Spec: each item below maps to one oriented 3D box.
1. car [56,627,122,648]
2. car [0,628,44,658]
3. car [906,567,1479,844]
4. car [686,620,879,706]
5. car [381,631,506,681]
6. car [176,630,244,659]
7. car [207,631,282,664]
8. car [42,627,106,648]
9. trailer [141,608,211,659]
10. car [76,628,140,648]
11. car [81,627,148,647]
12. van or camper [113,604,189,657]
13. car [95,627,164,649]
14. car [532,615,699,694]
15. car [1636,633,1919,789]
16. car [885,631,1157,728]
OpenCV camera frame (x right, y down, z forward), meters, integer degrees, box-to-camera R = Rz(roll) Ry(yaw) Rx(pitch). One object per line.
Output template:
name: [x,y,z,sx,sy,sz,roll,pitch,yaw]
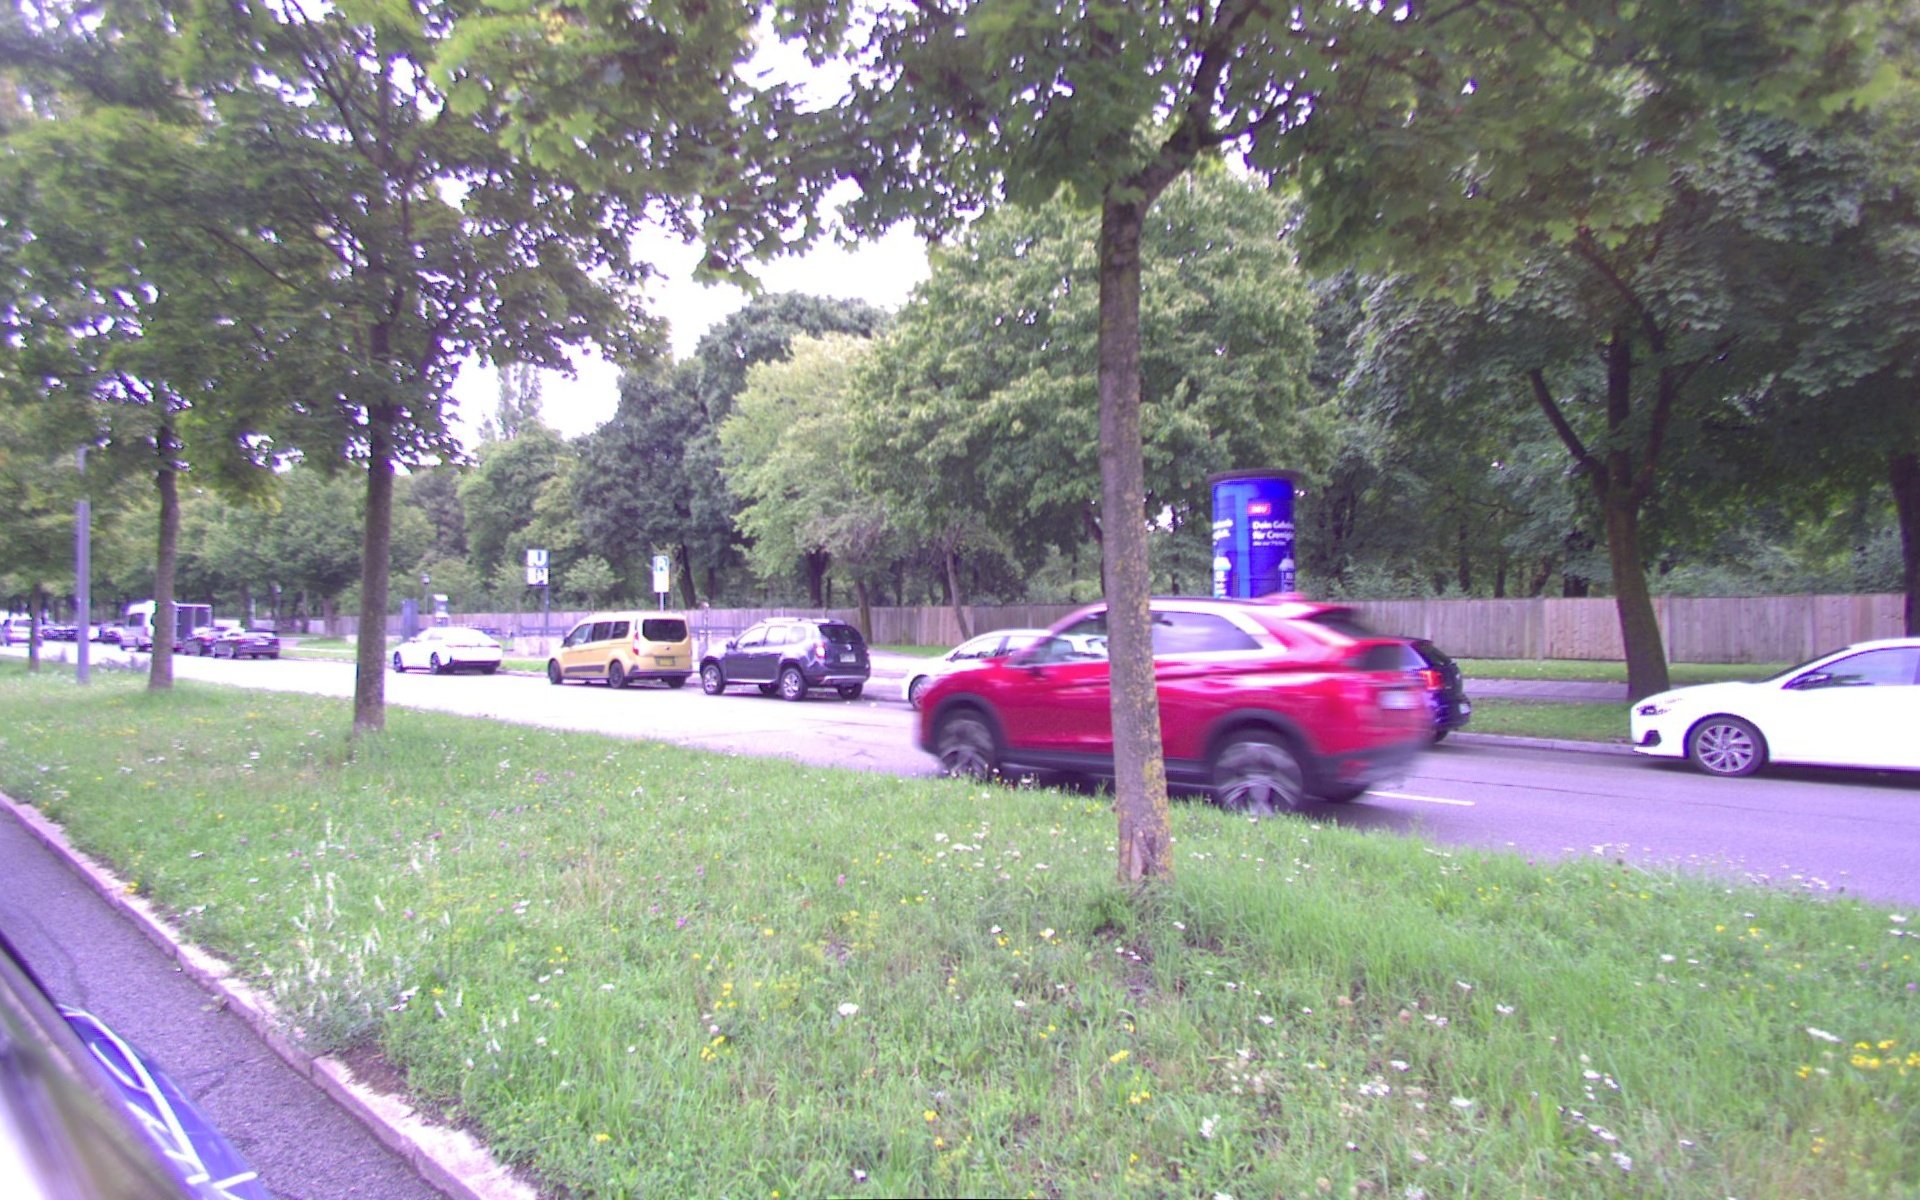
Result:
car: [-75.635,3.258,87.917,1.872,1.569,3.984,-2,0,13]
car: [-64.097,2.926,68.913,4.990,1.948,1.781,-1,-3,40]
car: [1.736,0.738,8.389,4.243,1.709,1.884,-1,-4,41]
car: [-3.851,1.288,21.575,4.252,1.658,1.719,-2,-3,40]
car: [-16.711,1.758,32.649,4.871,1.484,1.838,-2,-3,40]
car: [-37.448,2.219,50.504,4.235,1.394,1.781,-2,-3,41]
car: [-32.615,2.131,46.092,4.428,1.436,1.781,-2,-3,41]
car: [-77.986,3.294,89.105,1.869,1.569,3.990,-2,0,8]
trailer: [-41.966,1.785,54.157,4.656,2.610,1.996,-2,-3,41]
car: [-72.857,3.233,86.580,1.722,1.466,3.984,-2,0,13]
car: [-70.586,3.056,84.554,1.872,1.474,3.984,-2,0,13]
van or camper: [-46.530,1.789,58.134,7.542,2.859,2.014,-2,-3,41]
car: [-63.952,2.921,78.016,1.779,1.497,3.993,-2,0,6]
car: [-8.724,1.335,25.406,4.815,1.796,1.795,-2,-3,42]
car: [9.438,1.073,10.122,4.276,1.455,1.590,-2,-3,41]
car: [0.948,1.281,17.404,4.529,1.461,1.744,-2,-3,40]
